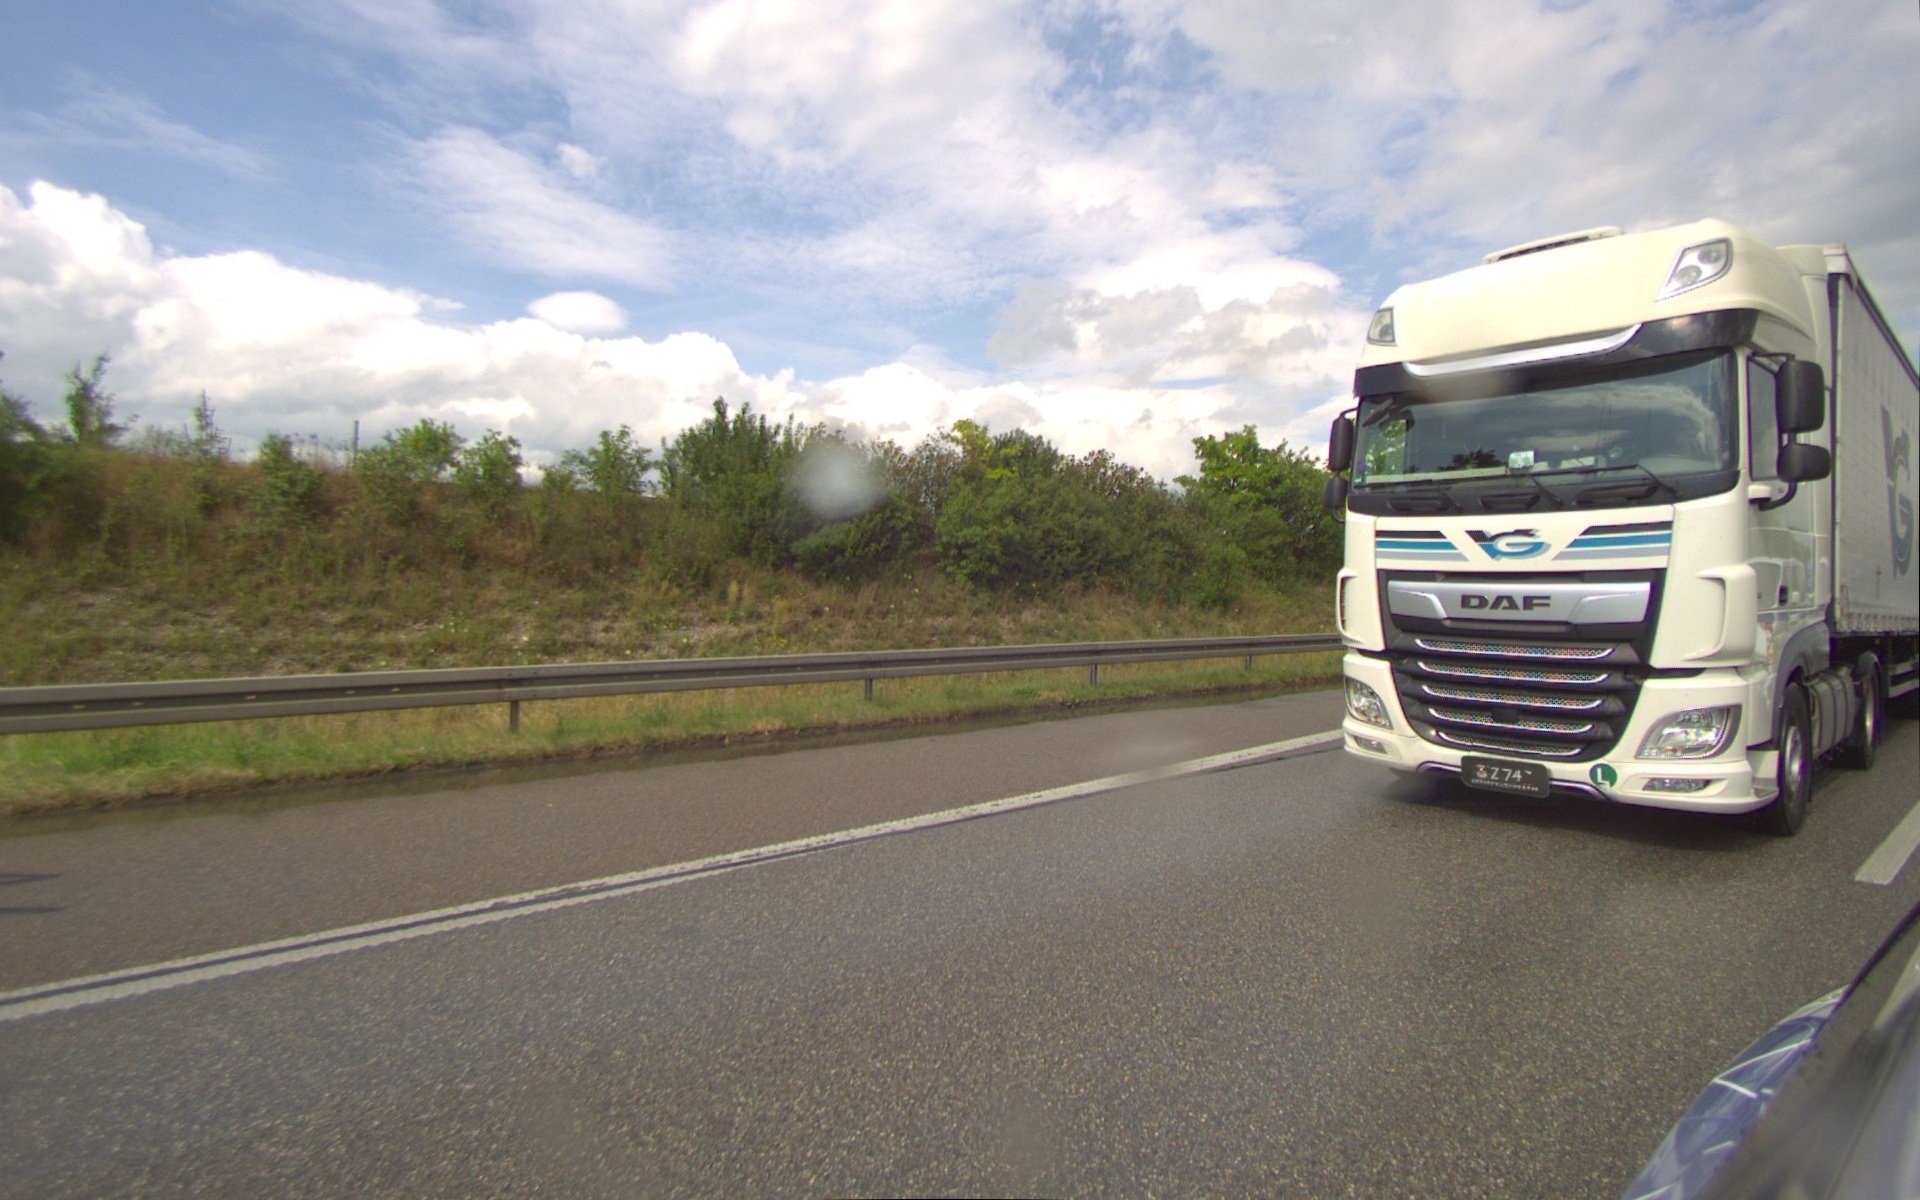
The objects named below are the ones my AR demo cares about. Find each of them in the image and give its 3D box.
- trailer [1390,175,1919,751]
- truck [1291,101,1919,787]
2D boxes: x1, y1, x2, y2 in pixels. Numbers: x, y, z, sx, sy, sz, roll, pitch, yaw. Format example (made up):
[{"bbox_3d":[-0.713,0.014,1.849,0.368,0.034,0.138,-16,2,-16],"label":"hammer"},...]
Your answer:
[{"bbox_3d":[10.225,-0.963,12.838,13.886,3.948,3.288,0,0,-42],"label":"trailer"},{"bbox_3d":[6.124,-0.907,9.156,6.286,3.940,3.288,0,0,-42],"label":"truck"}]
